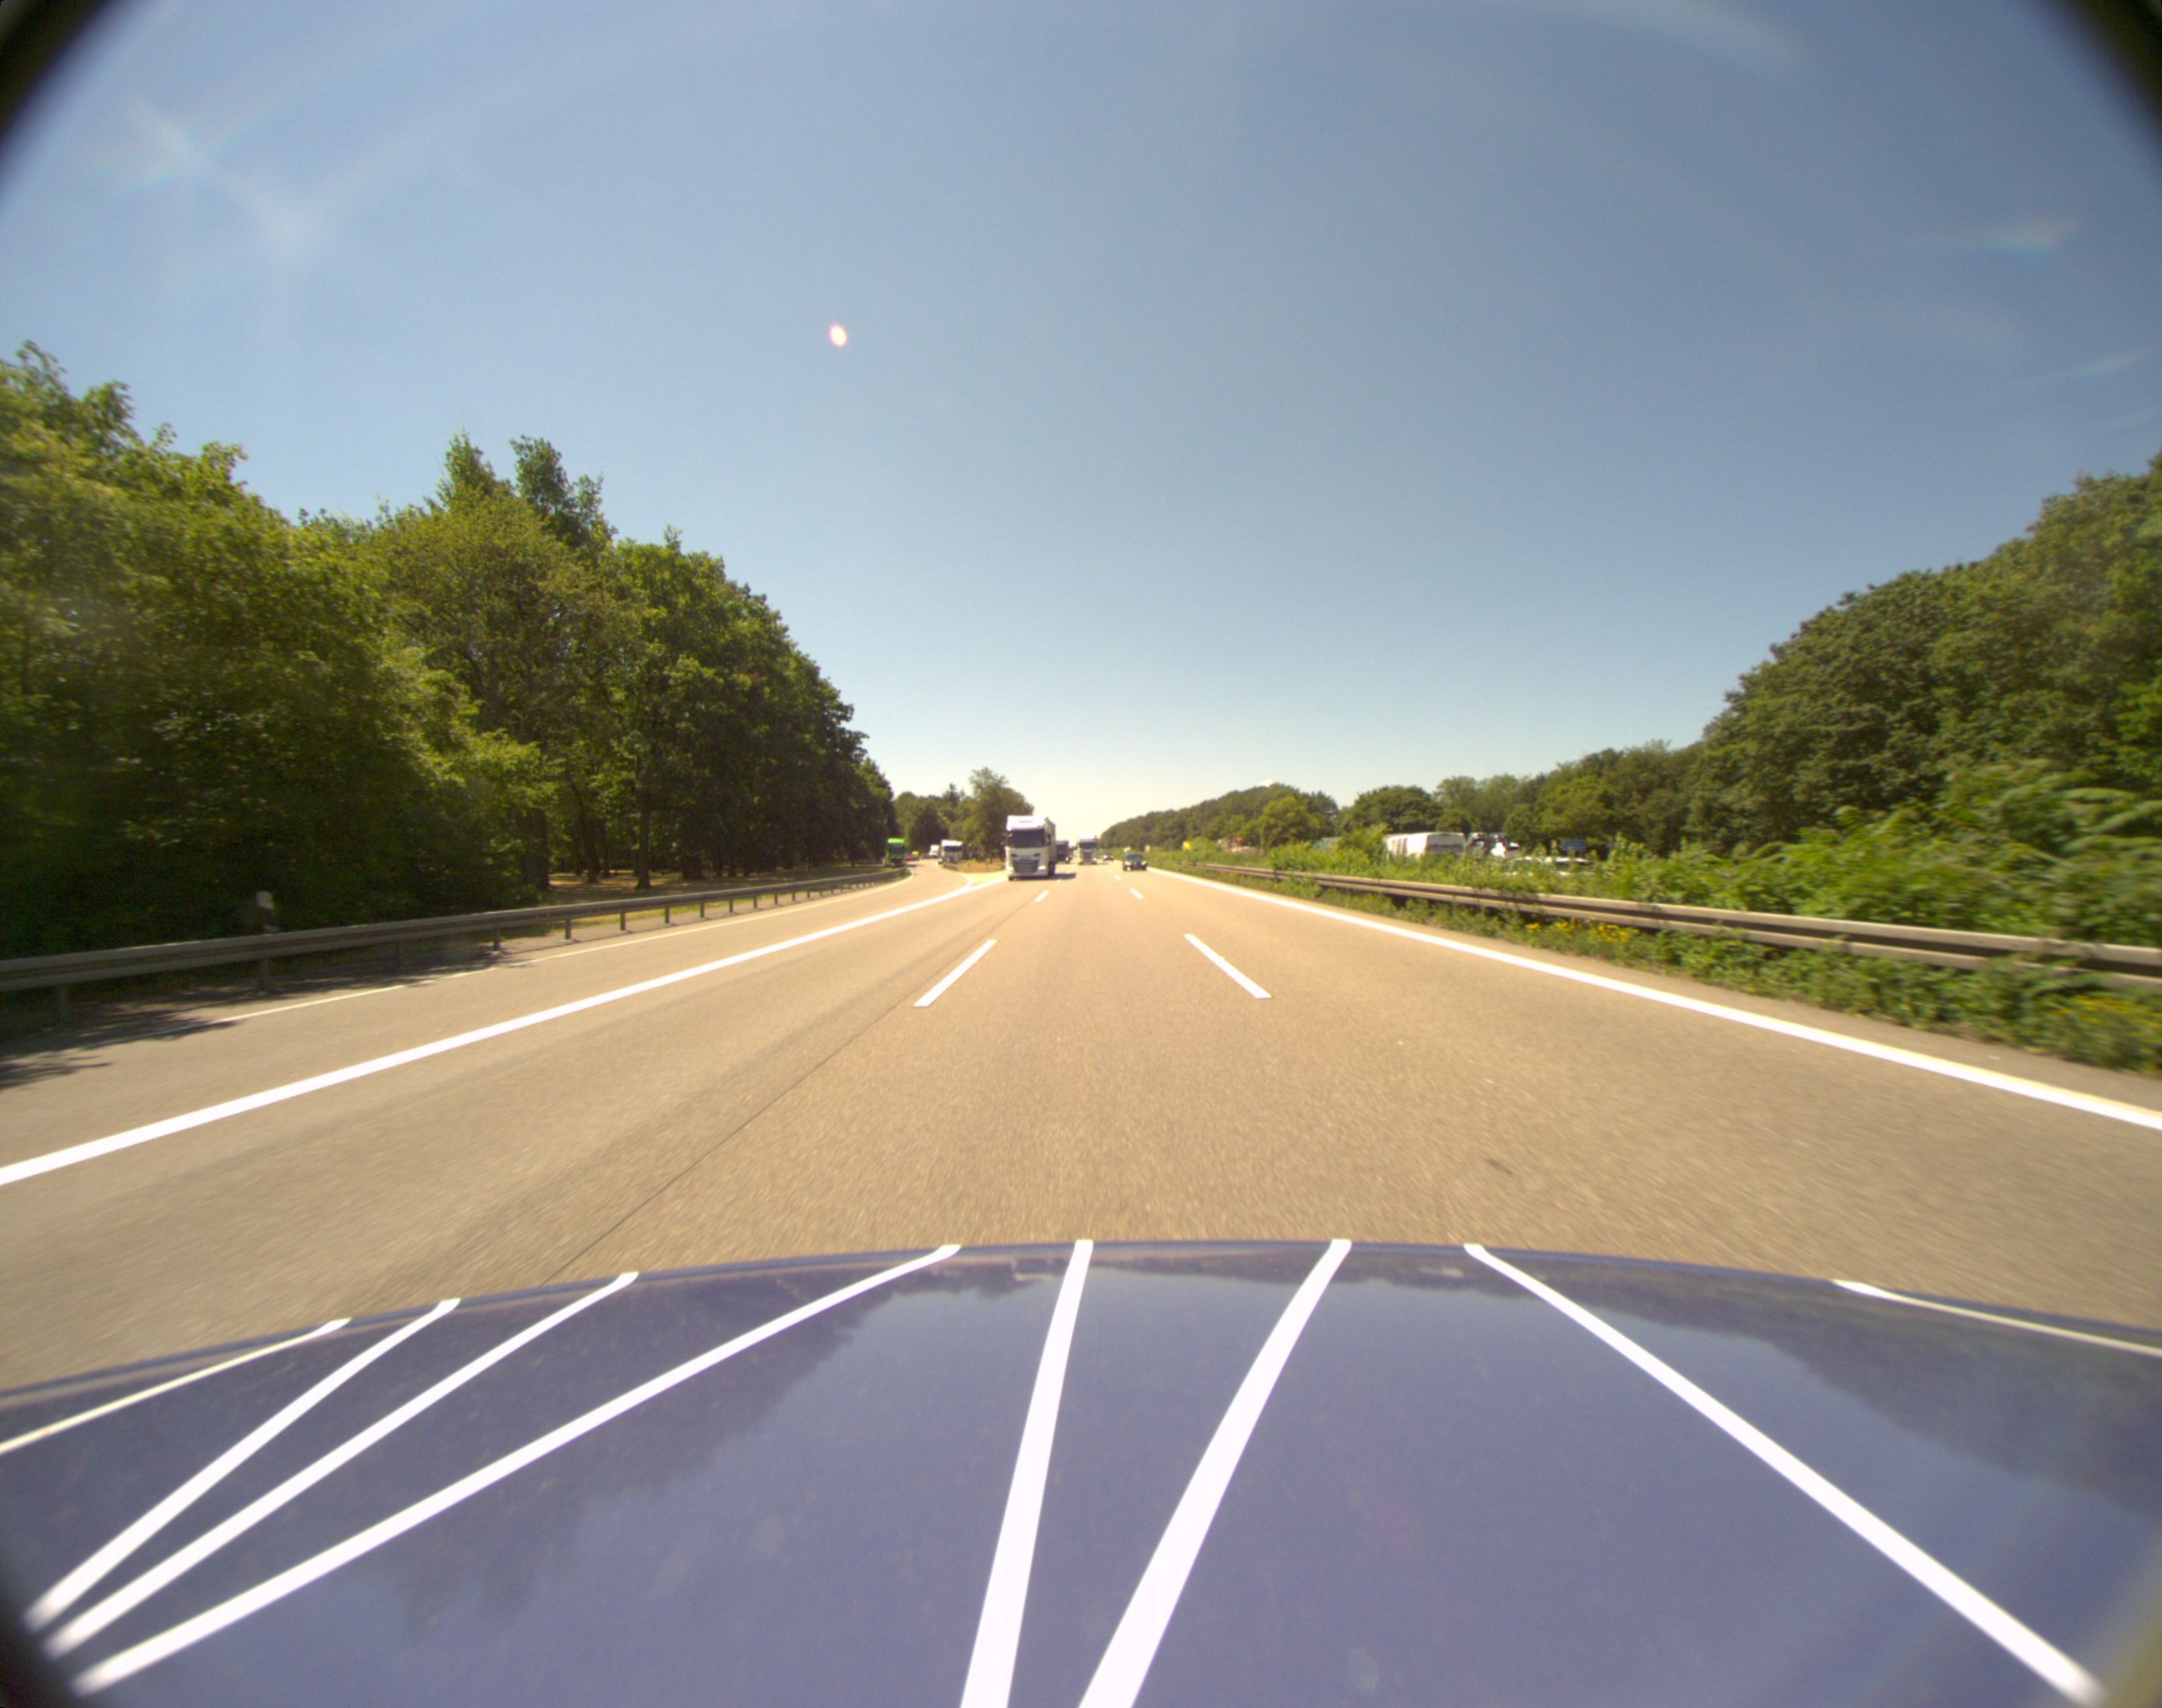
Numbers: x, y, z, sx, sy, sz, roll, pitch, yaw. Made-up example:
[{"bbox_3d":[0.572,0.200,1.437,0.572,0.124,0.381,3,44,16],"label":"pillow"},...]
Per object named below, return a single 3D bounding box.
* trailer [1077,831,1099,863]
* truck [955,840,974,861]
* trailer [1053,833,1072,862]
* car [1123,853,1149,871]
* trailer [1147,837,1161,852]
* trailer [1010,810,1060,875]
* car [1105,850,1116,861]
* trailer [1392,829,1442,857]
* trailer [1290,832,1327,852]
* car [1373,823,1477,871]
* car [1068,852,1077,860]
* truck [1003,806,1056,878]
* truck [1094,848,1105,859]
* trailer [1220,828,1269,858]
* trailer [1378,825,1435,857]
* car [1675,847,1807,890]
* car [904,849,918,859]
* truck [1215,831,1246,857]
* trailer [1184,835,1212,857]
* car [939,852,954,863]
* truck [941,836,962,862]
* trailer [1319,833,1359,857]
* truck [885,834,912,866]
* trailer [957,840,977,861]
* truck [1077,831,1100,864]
[{"bbox_3d":[1.003,-1.000,109.938,2.863,4.247,11.470,-2,1,0],"label":"trailer"},{"bbox_3d":[-25.173,-0.756,164.563,3.393,4.437,8.229,-1,1,-5],"label":"truck"},{"bbox_3d":[-2.869,-1.003,121.332,2.863,4.247,11.470,-1,0,-1],"label":"trailer"},{"bbox_3d":[4.533,0.646,63.120,1.811,1.399,4.000,-3,0,0],"label":"car"},{"bbox_3d":[21.805,-2.837,227.303,2.910,4.247,11.487,-2,1,-1],"label":"trailer"},{"bbox_3d":[-3.277,-0.829,57.844,2.863,4.247,14.978,-2,1,0],"label":"trailer"},{"bbox_3d":[5.237,0.224,135.648,1.806,1.774,3.999,-1,1,1],"label":"car"},{"bbox_3d":[57.600,-1.782,130.798,3.608,4.565,14.028,0,0,6],"label":"trailer"},{"bbox_3d":[50.683,-2.545,169.865,3.611,4.239,14.019,0,0,-2],"label":"trailer"},{"bbox_3d":[16.660,-0.355,37.302,2.151,2.043,6.633,-2,1,1],"label":"car"},{"bbox_3d":[-1.897,0.427,172.881,1.811,1.613,3.999,-3,1,0],"label":"car"},{"bbox_3d":[-3.213,-0.752,49.086,2.863,4.247,6.862,-2,1,-1],"label":"truck"},{"bbox_3d":[4.562,-0.136,185.751,2.576,2.461,5.614,-2,1,0],"label":"truck"},{"bbox_3d":[21.533,-1.374,101.484,3.206,3.559,15.967,-2,1,1],"label":"trailer"},{"bbox_3d":[45.786,-1.770,107.507,3.222,4.112,14.055,-2,1,6],"label":"trailer"},{"bbox_3d":[27.308,0.546,31.631,1.976,1.585,4.000,-3,0,0],"label":"car"},{"bbox_3d":[-32.647,0.020,145.883,2.147,1.743,4.865,1,0,-7],"label":"car"},{"bbox_3d":[21.652,-1.460,110.445,3.206,3.559,6.995,-2,1,1],"label":"truck"},{"bbox_3d":[22.263,-1.556,145.226,3.206,3.803,14.022,-2,1,1],"label":"trailer"},{"bbox_3d":[-22.343,0.548,126.449,1.999,1.700,4.677,1,0,-3],"label":"car"},{"bbox_3d":[-23.206,-0.839,136.246,3.395,4.437,7.382,-2,1,-10],"label":"truck"},{"bbox_3d":[50.802,-1.790,150.152,3.609,4.565,14.023,0,0,1],"label":"trailer"},{"bbox_3d":[-26.063,-0.555,108.844,3.395,4.233,6.609,-2,1,-12],"label":"truck"},{"bbox_3d":[-25.963,-0.803,173.592,3.393,4.437,18.117,-1,0,-5],"label":"trailer"},{"bbox_3d":[0.968,-0.936,102.959,2.863,4.247,5.410,-2,1,0],"label":"truck"}]
